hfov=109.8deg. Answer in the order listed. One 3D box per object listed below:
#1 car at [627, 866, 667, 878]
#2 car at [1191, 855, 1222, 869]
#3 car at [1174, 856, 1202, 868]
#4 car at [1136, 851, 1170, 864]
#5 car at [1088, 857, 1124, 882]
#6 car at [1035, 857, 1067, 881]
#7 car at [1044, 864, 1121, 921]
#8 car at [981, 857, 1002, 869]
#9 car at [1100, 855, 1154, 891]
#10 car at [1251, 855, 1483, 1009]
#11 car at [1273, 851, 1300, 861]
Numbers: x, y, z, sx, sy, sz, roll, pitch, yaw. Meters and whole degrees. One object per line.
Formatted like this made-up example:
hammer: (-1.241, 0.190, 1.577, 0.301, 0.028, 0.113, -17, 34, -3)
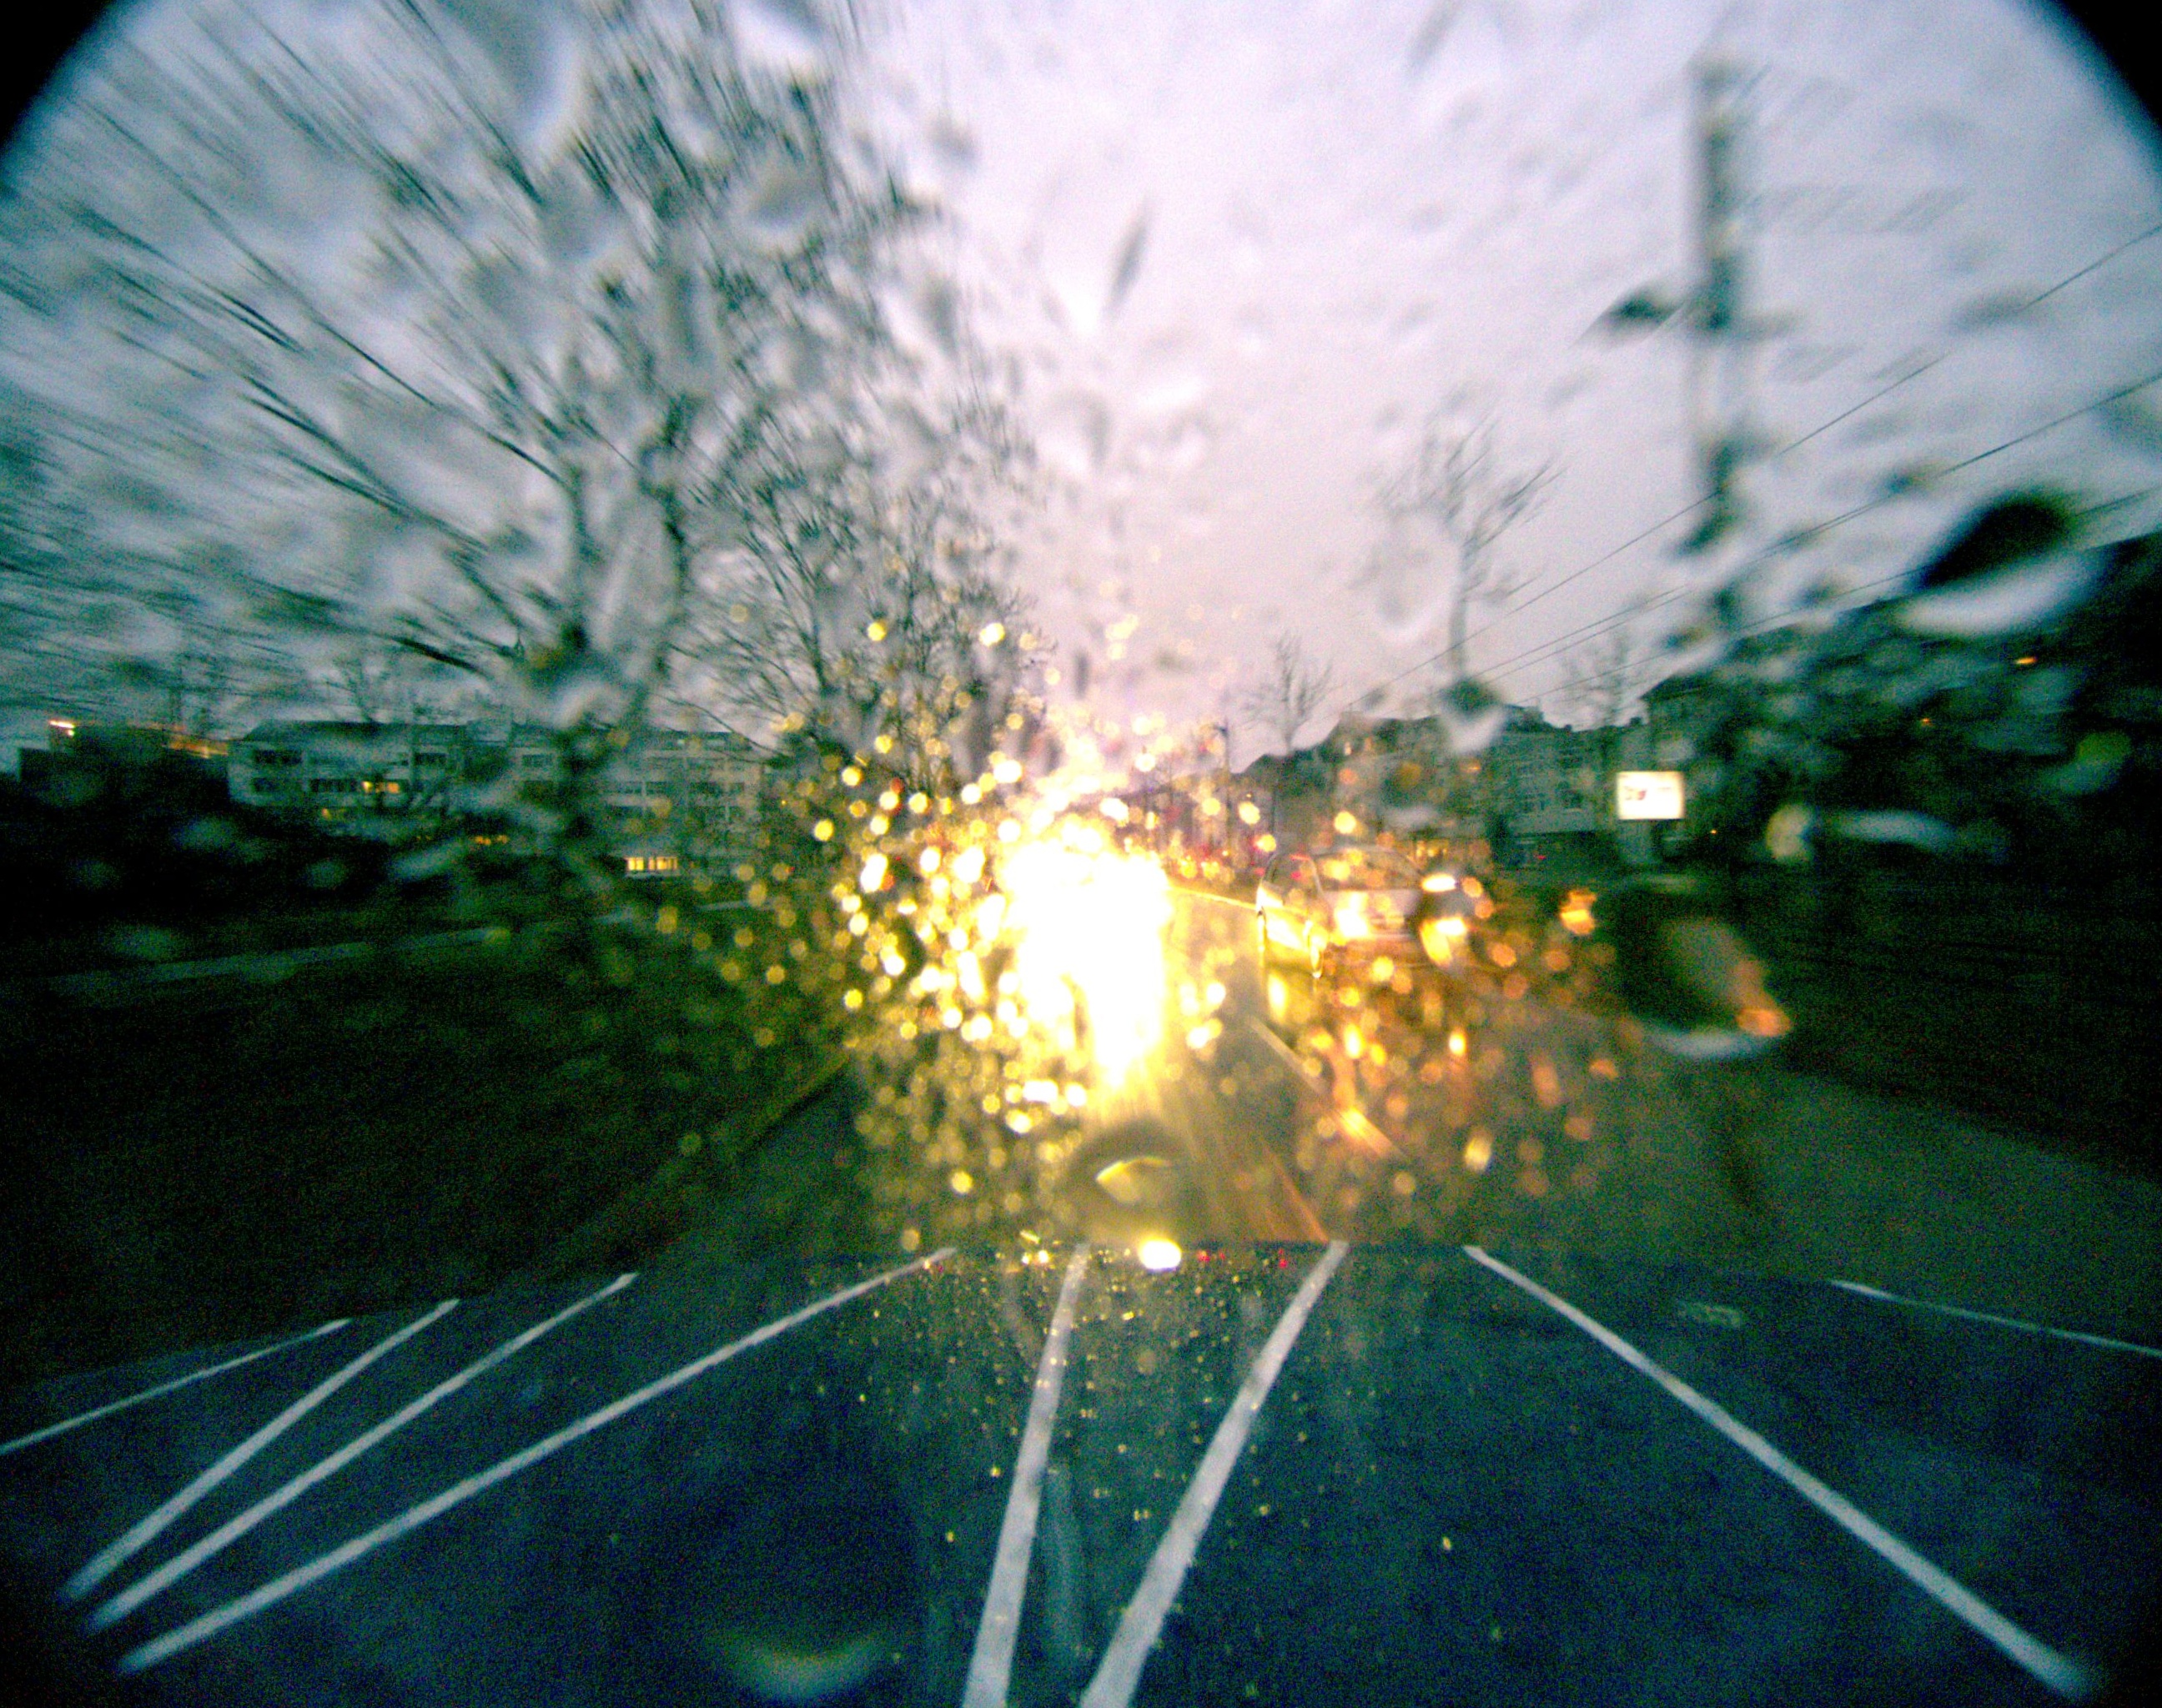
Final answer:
car: (-56.083, 2.354, 98.174, 4.168, 1.430, 1.901, -1, 0, -20)
car: (12.960, 0.849, 78.767, 1.898, 1.347, 4.286, -1, 0, -9)
car: (11.942, 0.904, 85.025, 1.898, 1.347, 4.286, -1, 0, -8)
car: (10.519, 0.549, 111.708, 4.671, 1.846, 2.327, -1, 0, -2)
car: (1.693, 1.030, 52.605, 1.845, 1.546, 4.215, -3, 0, -6)
car: (-2.165, 1.019, 53.908, 1.950, 1.546, 4.215, -3, 0, -6)
car: (0.043, 0.984, 21.056, 1.897, 1.347, 4.289, -1, 0, 0)
car: (-12.381, 1.204, 104.744, 1.952, 1.546, 4.210, -3, 0, -20)
car: (2.144, 0.863, 36.402, 1.925, 1.546, 4.215, -3, 0, -5)
car: (3.432, 0.827, 9.919, 1.669, 1.566, 3.923, -1, 0, 3)
car: (33.464, 0.317, 123.697, 3.900, 1.467, 1.776, -1, 0, -11)
